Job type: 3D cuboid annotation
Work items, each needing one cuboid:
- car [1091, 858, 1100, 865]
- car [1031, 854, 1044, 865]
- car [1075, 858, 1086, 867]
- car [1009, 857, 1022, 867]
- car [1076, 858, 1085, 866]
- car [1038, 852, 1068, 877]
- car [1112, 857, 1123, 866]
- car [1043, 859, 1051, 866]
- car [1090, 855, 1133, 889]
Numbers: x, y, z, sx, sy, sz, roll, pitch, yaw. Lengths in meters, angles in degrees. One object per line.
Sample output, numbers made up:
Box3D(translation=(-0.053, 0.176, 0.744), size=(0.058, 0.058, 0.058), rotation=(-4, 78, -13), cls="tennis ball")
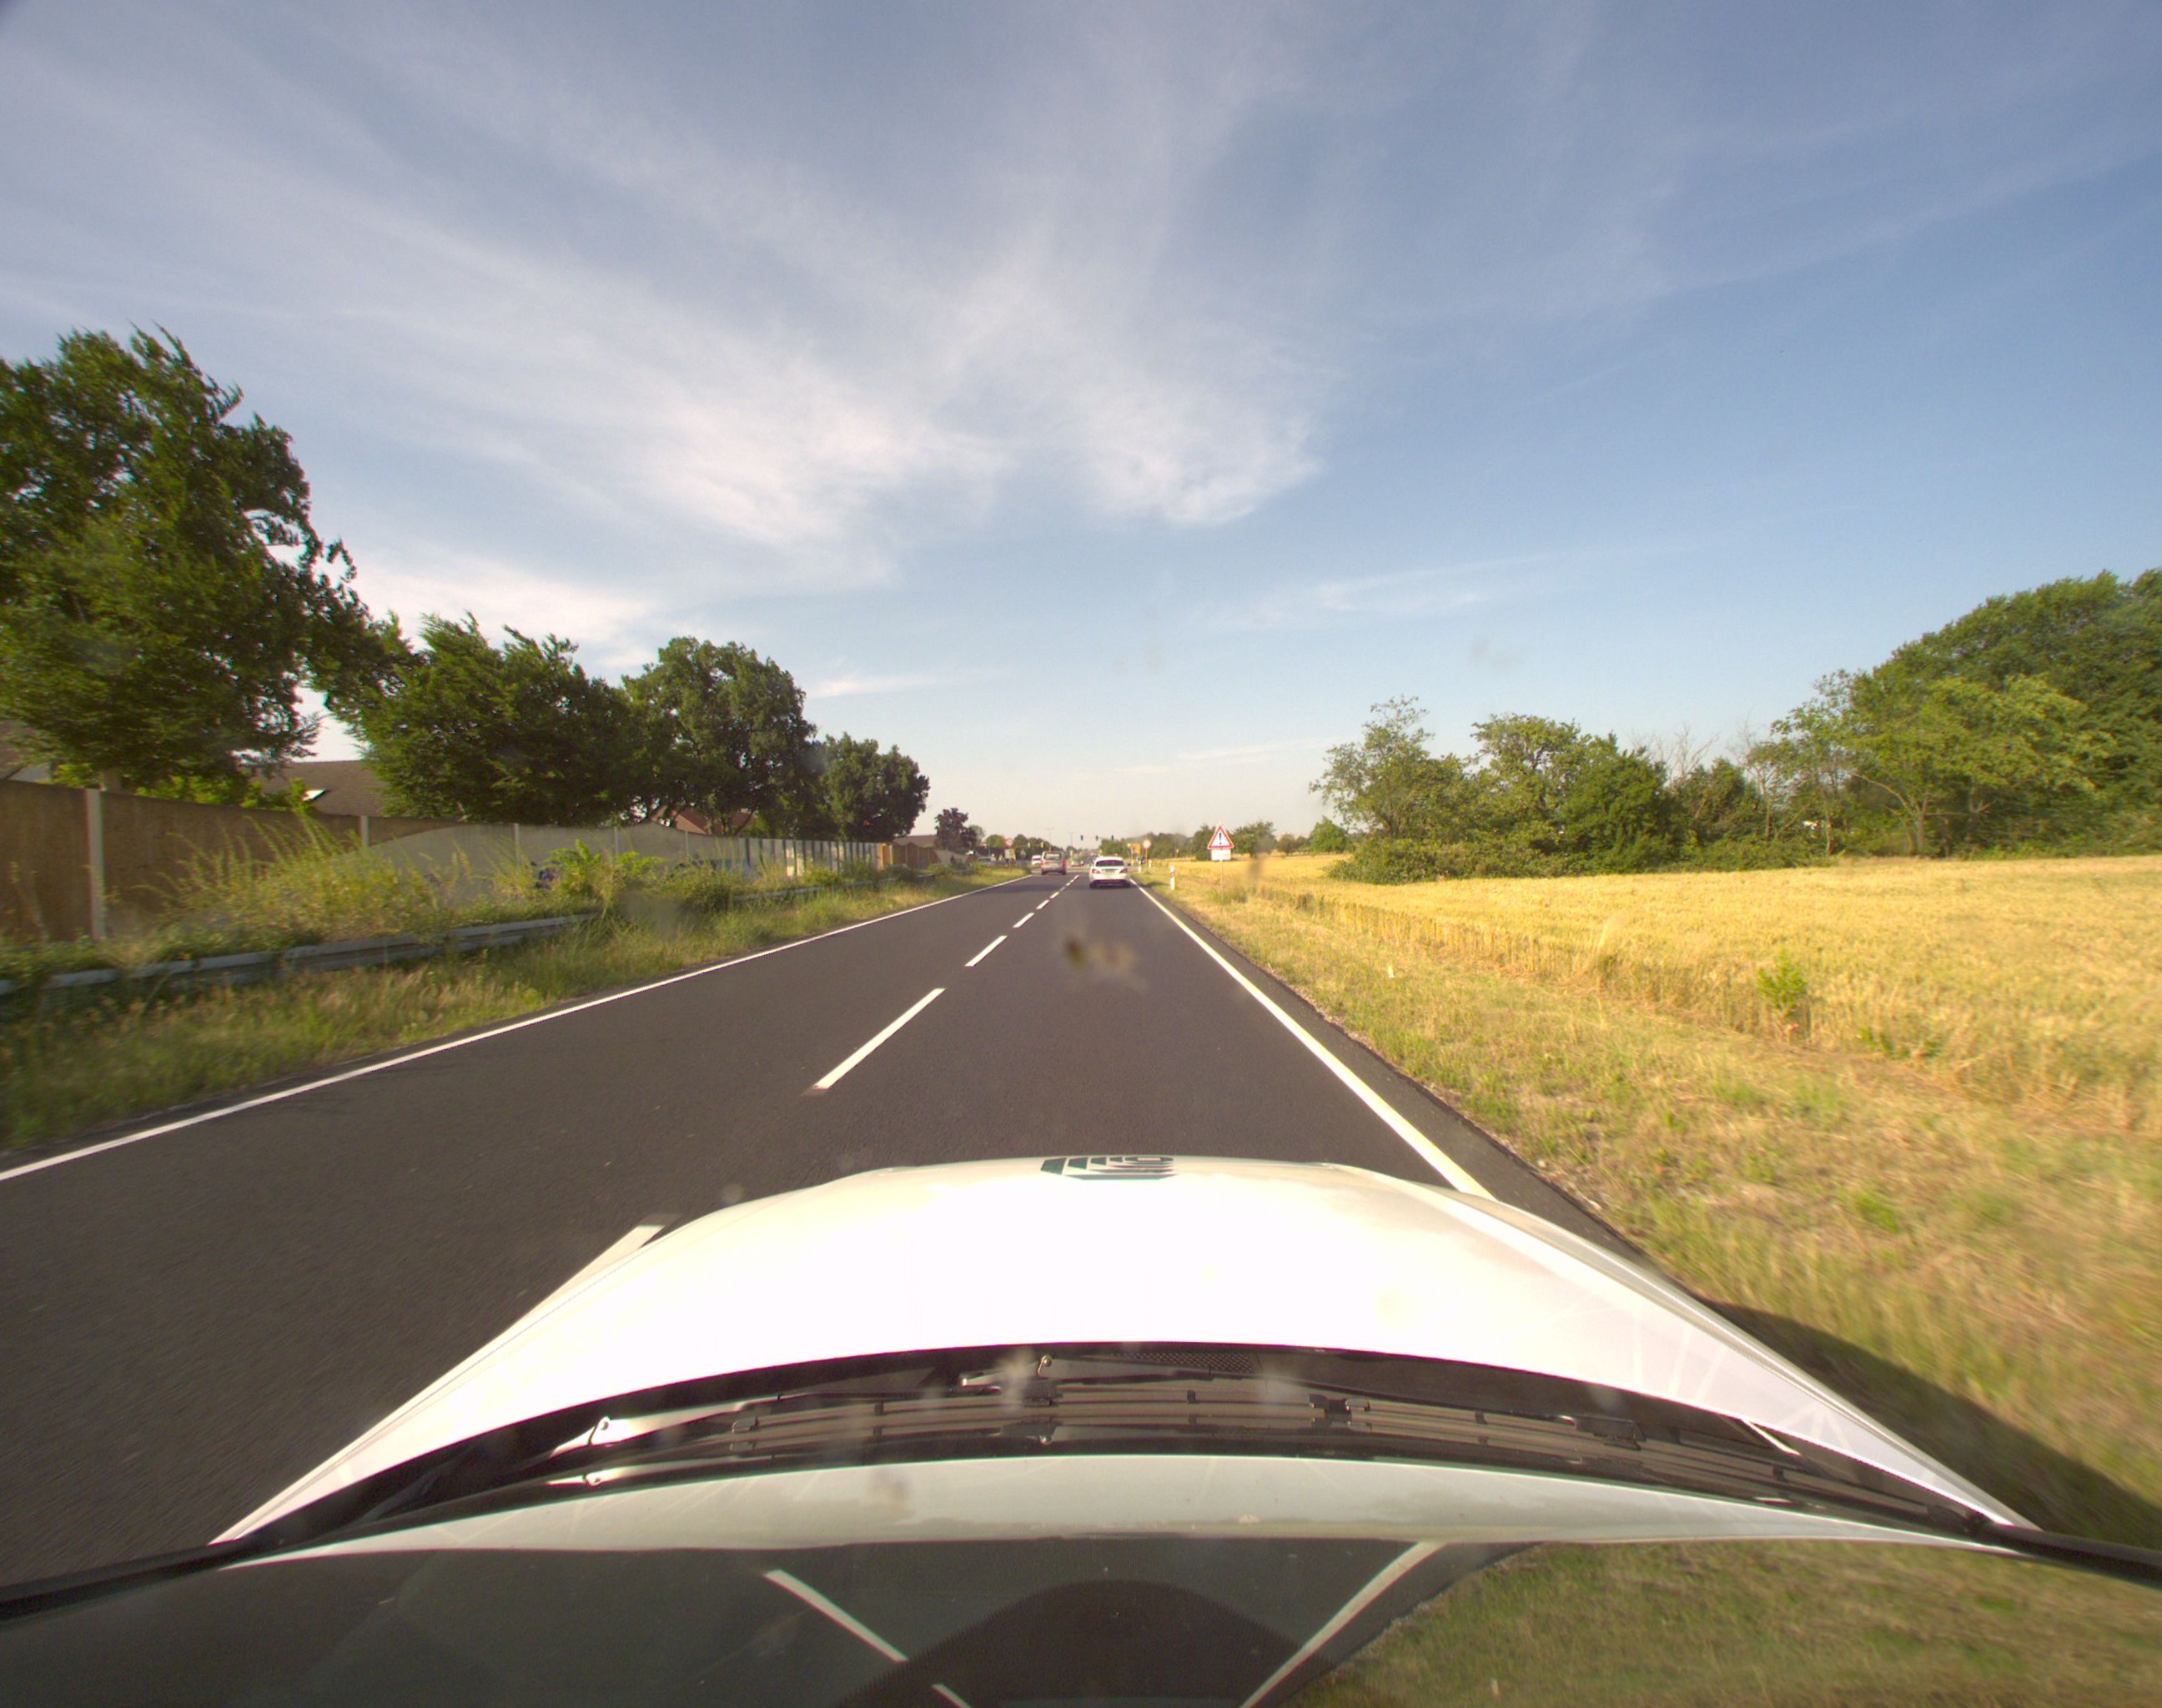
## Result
Box3D(translation=(3.317, 1.650, 183.908), size=(1.831, 1.684, 4.004), rotation=(0, 0, 3), cls="car")
Box3D(translation=(-9.388, 1.198, 176.338), size=(2.340, 2.303, 7.191), rotation=(0, 0, 1), cls="car")
Box3D(translation=(-0.066, 1.441, 141.105), size=(1.711, 1.492, 3.585), rotation=(0, 0, 1), cls="car")
Box3D(translation=(-9.641, 1.127, 120.000), size=(1.509, 1.465, 4.659), rotation=(0, 0, 1), cls="car")
Box3D(translation=(-0.207, 1.785, 176.231), size=(1.771, 1.665, 3.660), rotation=(0, 0, -2), cls="car")
Box3D(translation=(-2.175, 0.782, 64.480), size=(2.017, 1.892, 4.960), rotation=(0, 0, 2), cls="car")
Box3D(translation=(6.083, 1.251, 135.986), size=(1.747, 1.517, 4.001), rotation=(-2, 0, 2), cls="car")
Box3D(translation=(-8.704, 2.177, 208.663), size=(1.725, 1.625, 4.922), rotation=(0, 0, 1), cls="car")
Box3D(translation=(1.392, 0.818, 38.345), size=(1.888, 1.509, 4.000), rotation=(-1, 0, 1), cls="car")
